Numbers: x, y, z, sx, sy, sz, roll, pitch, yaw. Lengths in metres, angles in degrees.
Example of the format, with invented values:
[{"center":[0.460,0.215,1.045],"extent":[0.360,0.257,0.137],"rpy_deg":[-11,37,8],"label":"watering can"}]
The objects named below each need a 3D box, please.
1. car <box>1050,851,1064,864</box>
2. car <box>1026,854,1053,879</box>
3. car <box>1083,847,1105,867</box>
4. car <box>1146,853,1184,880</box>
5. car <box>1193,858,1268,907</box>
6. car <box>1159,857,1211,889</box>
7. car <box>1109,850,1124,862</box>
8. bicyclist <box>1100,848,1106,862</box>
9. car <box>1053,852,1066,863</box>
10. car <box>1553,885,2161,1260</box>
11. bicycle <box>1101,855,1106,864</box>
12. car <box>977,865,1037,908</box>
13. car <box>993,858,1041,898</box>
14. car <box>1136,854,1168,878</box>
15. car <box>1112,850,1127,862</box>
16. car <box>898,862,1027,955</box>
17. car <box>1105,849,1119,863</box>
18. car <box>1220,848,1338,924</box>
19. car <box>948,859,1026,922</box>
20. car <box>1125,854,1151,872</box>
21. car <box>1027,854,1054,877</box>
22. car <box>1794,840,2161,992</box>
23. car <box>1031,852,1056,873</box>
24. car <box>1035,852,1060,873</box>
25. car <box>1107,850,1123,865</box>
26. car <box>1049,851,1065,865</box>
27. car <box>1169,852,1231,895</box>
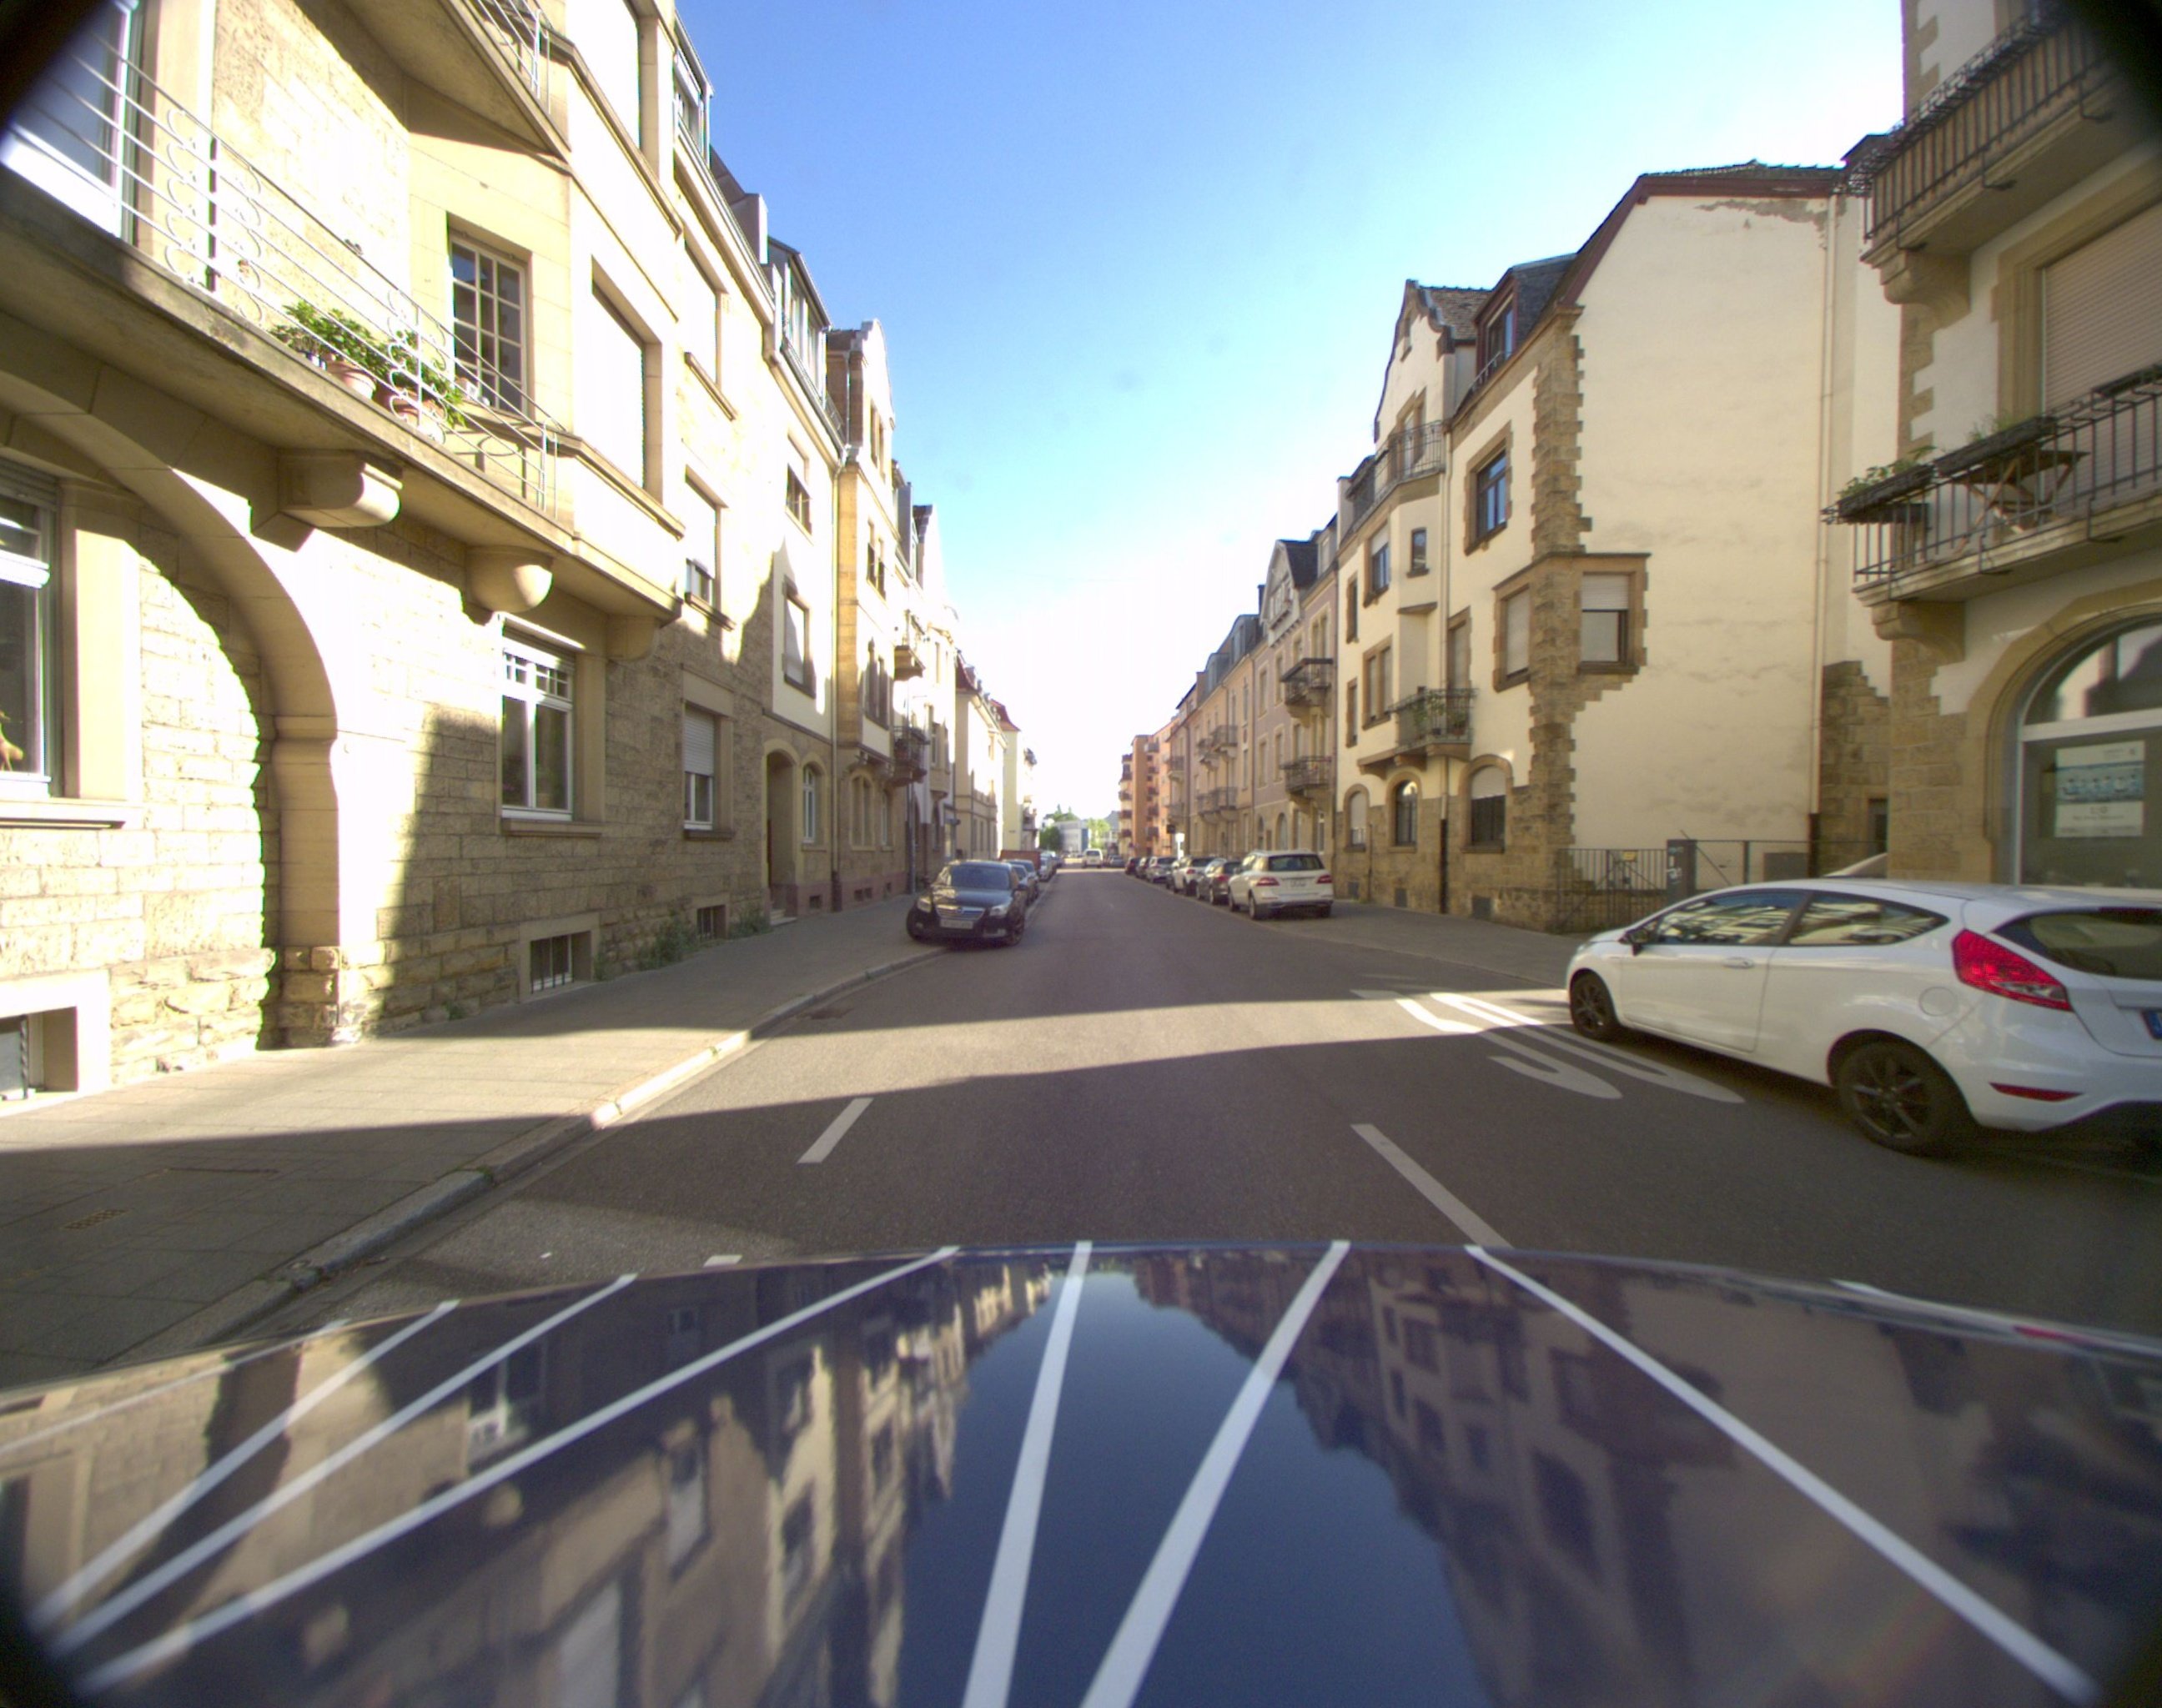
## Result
[{"center":[-2.897,0.374,92.719],"extent":[1.708,1.417,3.721],"rpy_deg":[1,1,-1],"label":"car"},{"center":[-2.546,0.769,46.998],"extent":[1.590,1.456,3.710],"rpy_deg":[0,0,-2],"label":"car"},{"center":[1.285,0.268,76.746],"extent":[1.868,1.925,4.598],"rpy_deg":[0,0,-4],"label":"car"},{"center":[4.929,0.727,45.078],"extent":[1.719,1.529,3.722],"rpy_deg":[-1,0,-2],"label":"car"},{"center":[5.038,0.901,26.064],"extent":[1.578,1.479,4.279],"rpy_deg":[-2,0,-2],"label":"car"},{"center":[4.980,0.872,36.948],"extent":[1.677,1.385,3.664],"rpy_deg":[-3,0,-5],"label":"car"},{"center":[4.420,0.241,94.200],"extent":[1.678,1.414,3.285],"rpy_deg":[1,0,0],"label":"car"},{"center":[2.523,0.092,86.731],"extent":[0.609,1.656,0.632],"rpy_deg":[0,1,0],"label":"bicyclist"},{"center":[-2.800,0.447,99.069],"extent":[1.708,1.417,3.721],"rpy_deg":[0,0,-2],"label":"car"},{"center":[5.136,1.031,5.162],"extent":[1.637,1.455,3.735],"rpy_deg":[0,1,2],"label":"car"},{"center":[2.523,0.637,86.951],"extent":[0.541,1.070,1.800],"rpy_deg":[0,0,1],"label":"bicycle"},{"center":[-2.405,1.036,25.529],"extent":[1.697,1.247,3.940],"rpy_deg":[-1,0,-1],"label":"car"},{"center":[-2.493,0.904,29.965],"extent":[1.791,1.421,3.806],"rpy_deg":[0,0,-4],"label":"car"},{"center":[4.813,0.783,51.770],"extent":[1.719,1.512,4.109],"rpy_deg":[1,0,-1],"label":"car"},{"center":[4.548,0.181,90.442],"extent":[1.678,1.414,3.500],"rpy_deg":[0,0,0],"label":"car"},{"center":[-2.094,0.915,14.661],"extent":[1.870,1.453,4.338],"rpy_deg":[0,0,-1],"label":"car"},{"center":[4.313,0.229,107.202],"extent":[1.822,1.867,4.110],"rpy_deg":[0,0,0],"label":"car"},{"center":[5.102,0.749,20.287],"extent":[1.896,1.712,4.726],"rpy_deg":[-3,0,1],"label":"car"},{"center":[-2.421,0.897,20.407],"extent":[1.655,1.434,4.257],"rpy_deg":[1,0,-1],"label":"car"},{"center":[4.628,0.708,62.056],"extent":[1.719,1.378,3.864],"rpy_deg":[-3,0,0],"label":"car"},{"center":[-2.752,0.762,52.384],"extent":[1.657,1.456,4.093],"rpy_deg":[0,0,-1],"label":"car"},{"center":[11.940,0.710,9.633],"extent":[3.978,1.718,1.909],"rpy_deg":[0,0,0],"label":"car"},{"center":[-2.853,0.628,58.453],"extent":[1.684,1.537,3.914],"rpy_deg":[1,0,1],"label":"car"},{"center":[-2.741,0.666,62.887],"extent":[1.791,1.655,4.434],"rpy_deg":[0,0,1],"label":"car"},{"center":[4.544,0.505,101.464],"extent":[1.822,1.867,4.111],"rpy_deg":[1,0,0],"label":"car"},{"center":[-2.746,0.418,87.256],"extent":[1.708,1.417,3.721],"rpy_deg":[1,1,-1],"label":"car"},{"center":[4.867,0.767,31.563],"extent":[1.719,1.574,4.019],"rpy_deg":[-3,0,-2],"label":"car"}]
